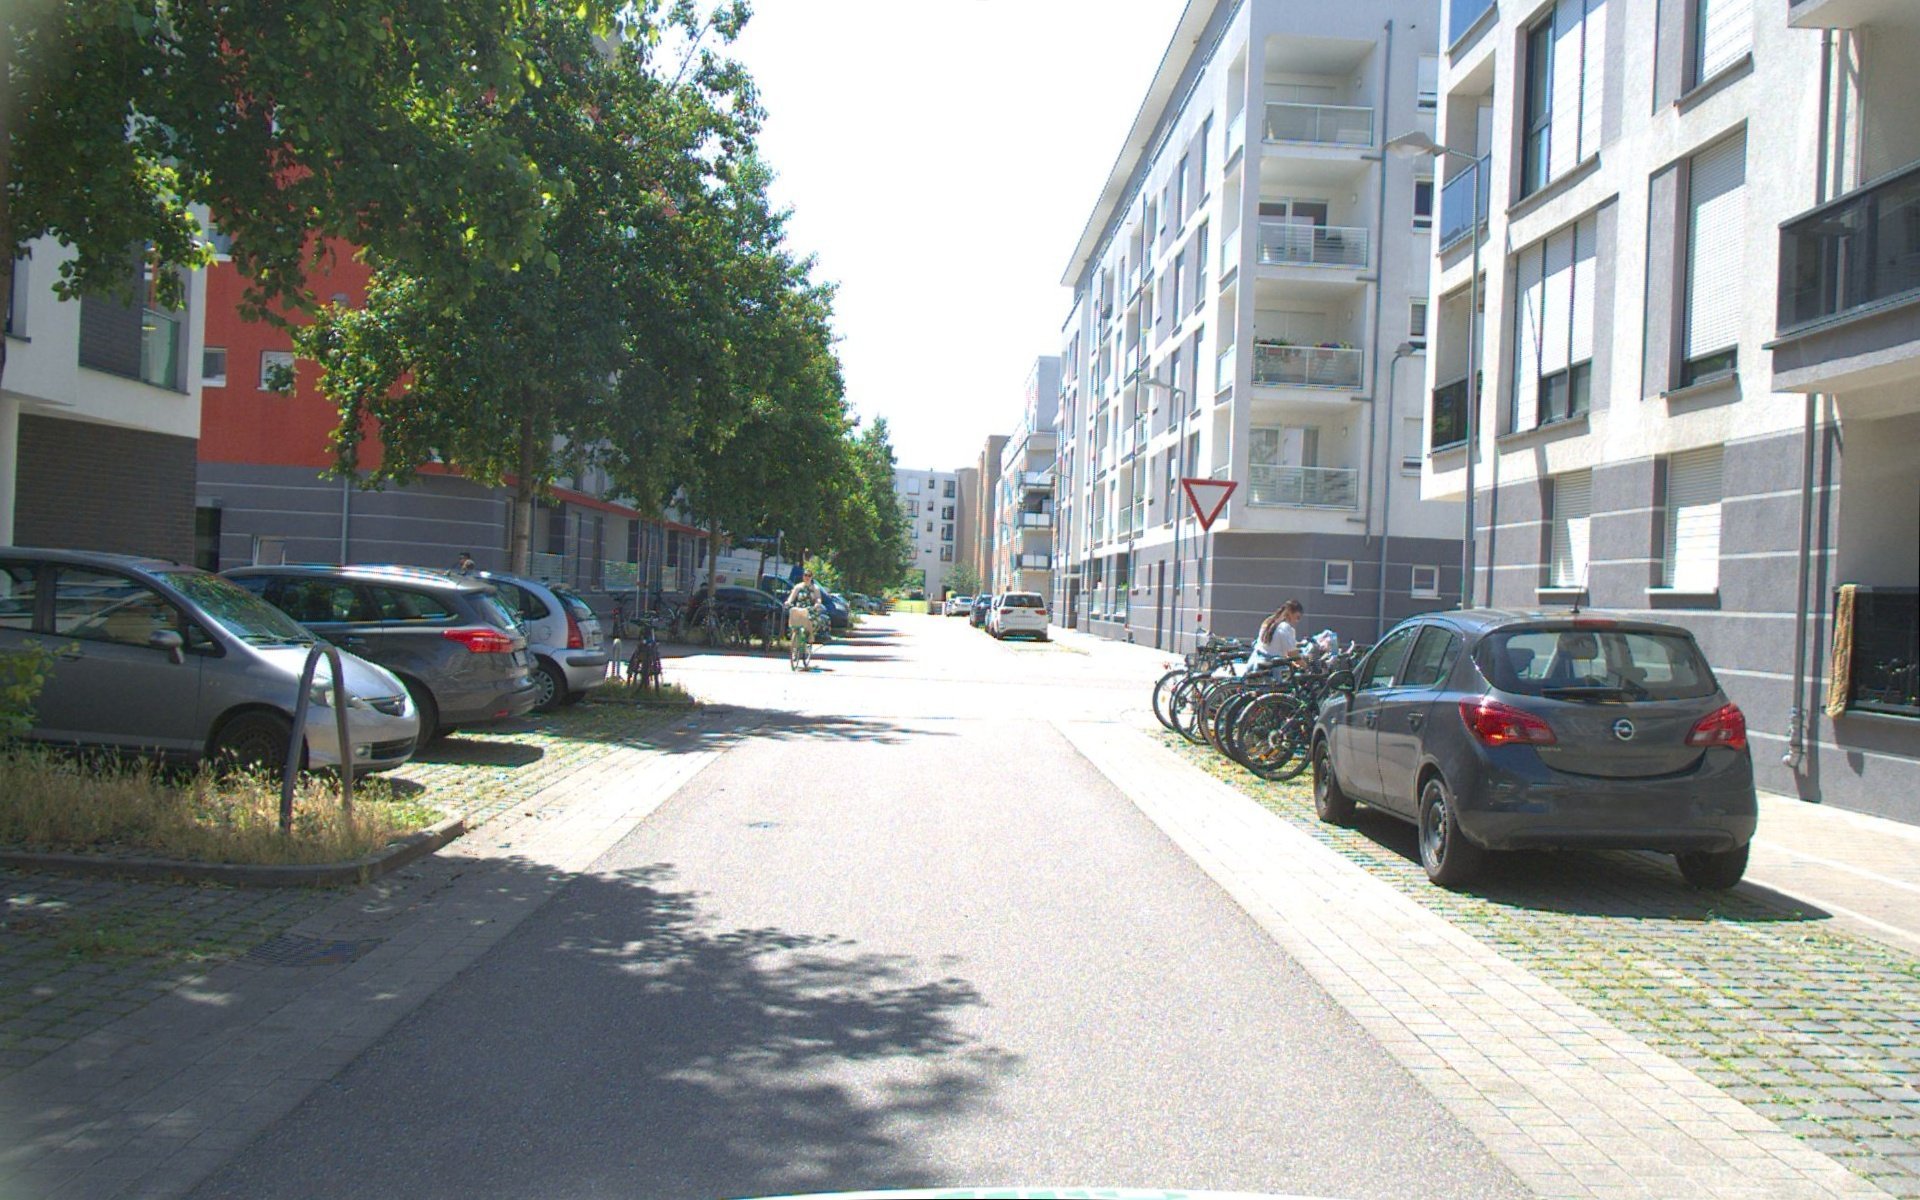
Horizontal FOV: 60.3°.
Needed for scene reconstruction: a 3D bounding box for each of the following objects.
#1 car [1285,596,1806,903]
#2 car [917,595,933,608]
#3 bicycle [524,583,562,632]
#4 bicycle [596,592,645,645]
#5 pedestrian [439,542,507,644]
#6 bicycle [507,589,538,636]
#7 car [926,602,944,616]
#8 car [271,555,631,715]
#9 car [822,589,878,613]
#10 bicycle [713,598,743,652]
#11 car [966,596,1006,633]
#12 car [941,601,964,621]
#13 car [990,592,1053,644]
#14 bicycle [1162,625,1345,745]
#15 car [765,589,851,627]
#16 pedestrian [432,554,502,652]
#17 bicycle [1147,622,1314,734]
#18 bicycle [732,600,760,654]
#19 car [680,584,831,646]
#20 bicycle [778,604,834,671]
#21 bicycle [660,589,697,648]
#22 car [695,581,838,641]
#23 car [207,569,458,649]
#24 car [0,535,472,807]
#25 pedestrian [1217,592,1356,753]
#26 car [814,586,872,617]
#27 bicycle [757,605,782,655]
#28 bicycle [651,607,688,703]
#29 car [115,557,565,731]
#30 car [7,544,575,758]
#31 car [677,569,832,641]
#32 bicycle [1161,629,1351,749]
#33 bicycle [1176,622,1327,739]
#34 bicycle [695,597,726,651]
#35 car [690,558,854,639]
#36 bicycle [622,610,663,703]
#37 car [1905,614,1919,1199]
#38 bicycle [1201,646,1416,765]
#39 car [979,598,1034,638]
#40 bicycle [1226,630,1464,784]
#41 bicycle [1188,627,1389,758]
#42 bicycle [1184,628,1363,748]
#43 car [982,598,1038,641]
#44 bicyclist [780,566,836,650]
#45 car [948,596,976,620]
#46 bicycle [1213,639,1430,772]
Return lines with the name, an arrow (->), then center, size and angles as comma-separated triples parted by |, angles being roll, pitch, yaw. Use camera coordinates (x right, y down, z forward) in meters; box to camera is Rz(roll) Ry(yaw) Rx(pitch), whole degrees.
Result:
car -> 3.381, 0.753, 10.479 | 1.703, 1.511, 4.228 | 1, 0, -1
car -> -4.462, 0.215, 209.801 | 1.954, 1.545, 3.998 | 2, 0, -3
bicycle -> -11.103, 0.188, 44.080 | 0.540, 1.262, 1.924 | 2, 0, -2
bicycle -> -8.230, 0.431, 40.161 | 0.675, 1.190, 2.222 | 5, 1, -1
pedestrian -> -10.060, -0.137, 34.195 | 0.988, 2.049, 1.129 | 2, 0, 1
bicycle -> -10.963, 0.300, 41.456 | 0.596, 1.126, 2.100 | 2, 0, -12
car -> -2.859, 1.030, 188.970 | 1.952, 1.545, 4.000 | 2, 0, 1
car -> -5.849, 0.394, 19.339 | 3.557, 1.547, 1.831 | 4, 0, -2
car -> -8.254, 0.099, 124.622 | 3.903, 1.630, 2.001 | 2, 0, 5
bicycle -> -5.657, 0.601, 40.356 | 0.425, 1.224, 1.699 | 4, 1, -1
car -> 1.253, 0.674, 77.980 | 1.721, 1.579, 4.001 | 3, 0, 2
car -> -0.709, 1.002, 153.713 | 1.954, 1.747, 3.998 | 2, 0, -3
car -> 2.105, 0.603, 57.892 | 1.957, 1.686, 4.114 | 2, 0, -1
bicycle -> 3.132, 0.897, 17.775 | 1.882, 1.200, 0.639 | 1, 0, 8
car -> -7.329, 0.372, 80.249 | 3.905, 1.646, 2.000 | 2, 0, 0
pedestrian -> -9.009, 0.053, 30.274 | 0.980, 1.720, 0.832 | 2, 0, -1
bicycle -> 3.119, 0.892, 19.167 | 1.821, 1.214, 0.687 | 1, 0, 1
bicycle -> -5.233, 0.650, 40.362 | 0.560, 1.194, 1.765 | 5, 1, -8
car -> -6.185, 0.453, 50.458 | 4.295, 1.541, 2.074 | 4, 0, -2
bicycle -> -2.814, 0.671, 30.439 | 0.880, 1.149, 2.039 | 2, 0, -2
bicycle -> -6.859, 0.432, 40.367 | 0.581, 1.354, 1.812 | 2, 1, -1
car -> -6.175, 0.349, 53.184 | 4.295, 1.568, 1.878 | 4, 0, -2
car -> -13.080, 0.168, 34.695 | 4.482, 1.407, 1.936 | 2, 2, -4
car -> -5.649, 0.410, 11.530 | 3.859, 1.580, 1.871 | 4, 0, -2
pedestrian -> 3.221, 0.709, 16.351 | 1.157, 1.541, 0.686 | 1, 0, -11
car -> -8.600, 0.111, 121.856 | 3.903, 2.049, 2.001 | 2, 0, 5
bicycle -> -4.662, 0.727, 40.597 | 0.456, 1.161, 1.925 | 2, 0, -4
bicycle -> -3.859, 0.706, 21.915 | 0.364, 1.201, 1.815 | 2, 0, -13
car -> -6.268, 0.429, 17.052 | 3.905, 1.582, 1.800 | 2, 0, 0
car -> -5.629, 0.441, 14.426 | 4.100, 1.512, 1.956 | 3, -1, -5
car -> -7.105, 0.164, 57.619 | 5.042, 2.156, 2.311 | 3, 0, -2
bicycle -> 3.050, 0.909, 17.167 | 1.882, 1.153, 0.609 | 1, 0, 8
bicycle -> 3.244, 0.886, 18.460 | 1.520, 1.239, 0.707 | 1, 0, -3
bicycle -> -6.118, 0.571, 40.596 | 0.508, 1.224, 1.751 | 4, 1, -3
car -> -7.107, -0.046, 63.052 | 5.902, 2.865, 2.604 | 2, 0, -2
bicycle -> -4.212, 0.722, 21.877 | 0.426, 1.147, 1.972 | 2, 0, -13
car -> 3.414, 0.820, 2.160 | 1.797, 1.531, 4.349 | 1, 0, -1
bicycle -> 3.265, 0.983, 15.562 | 1.886, 1.053, 0.559 | 1, 0, -5
car -> 1.874, 0.710, 68.416 | 1.954, 1.551, 3.998 | 2, 0, -3
bicycle -> 3.264, 0.902, 14.121 | 1.833, 1.239, 0.715 | 1, 0, -5
bicycle -> 3.217, 0.905, 16.223 | 1.888, 1.239, 0.459 | 1, 0, -11
bicycle -> 3.191, 0.887, 16.806 | 1.807, 1.168, 0.458 | 1, 0, -21
car -> 1.882, 0.711, 63.587 | 1.953, 1.551, 3.999 | 2, 0, -1
bicyclist -> -2.804, 0.143, 30.535 | 0.934, 1.485, 0.799 | 2, 0, -2
car -> 0.131, 0.618, 126.507 | 1.954, 1.704, 3.998 | 2, 0, -3
bicycle -> 3.234, 0.935, 14.867 | 1.751, 1.123, 0.746 | 1, 0, -5
